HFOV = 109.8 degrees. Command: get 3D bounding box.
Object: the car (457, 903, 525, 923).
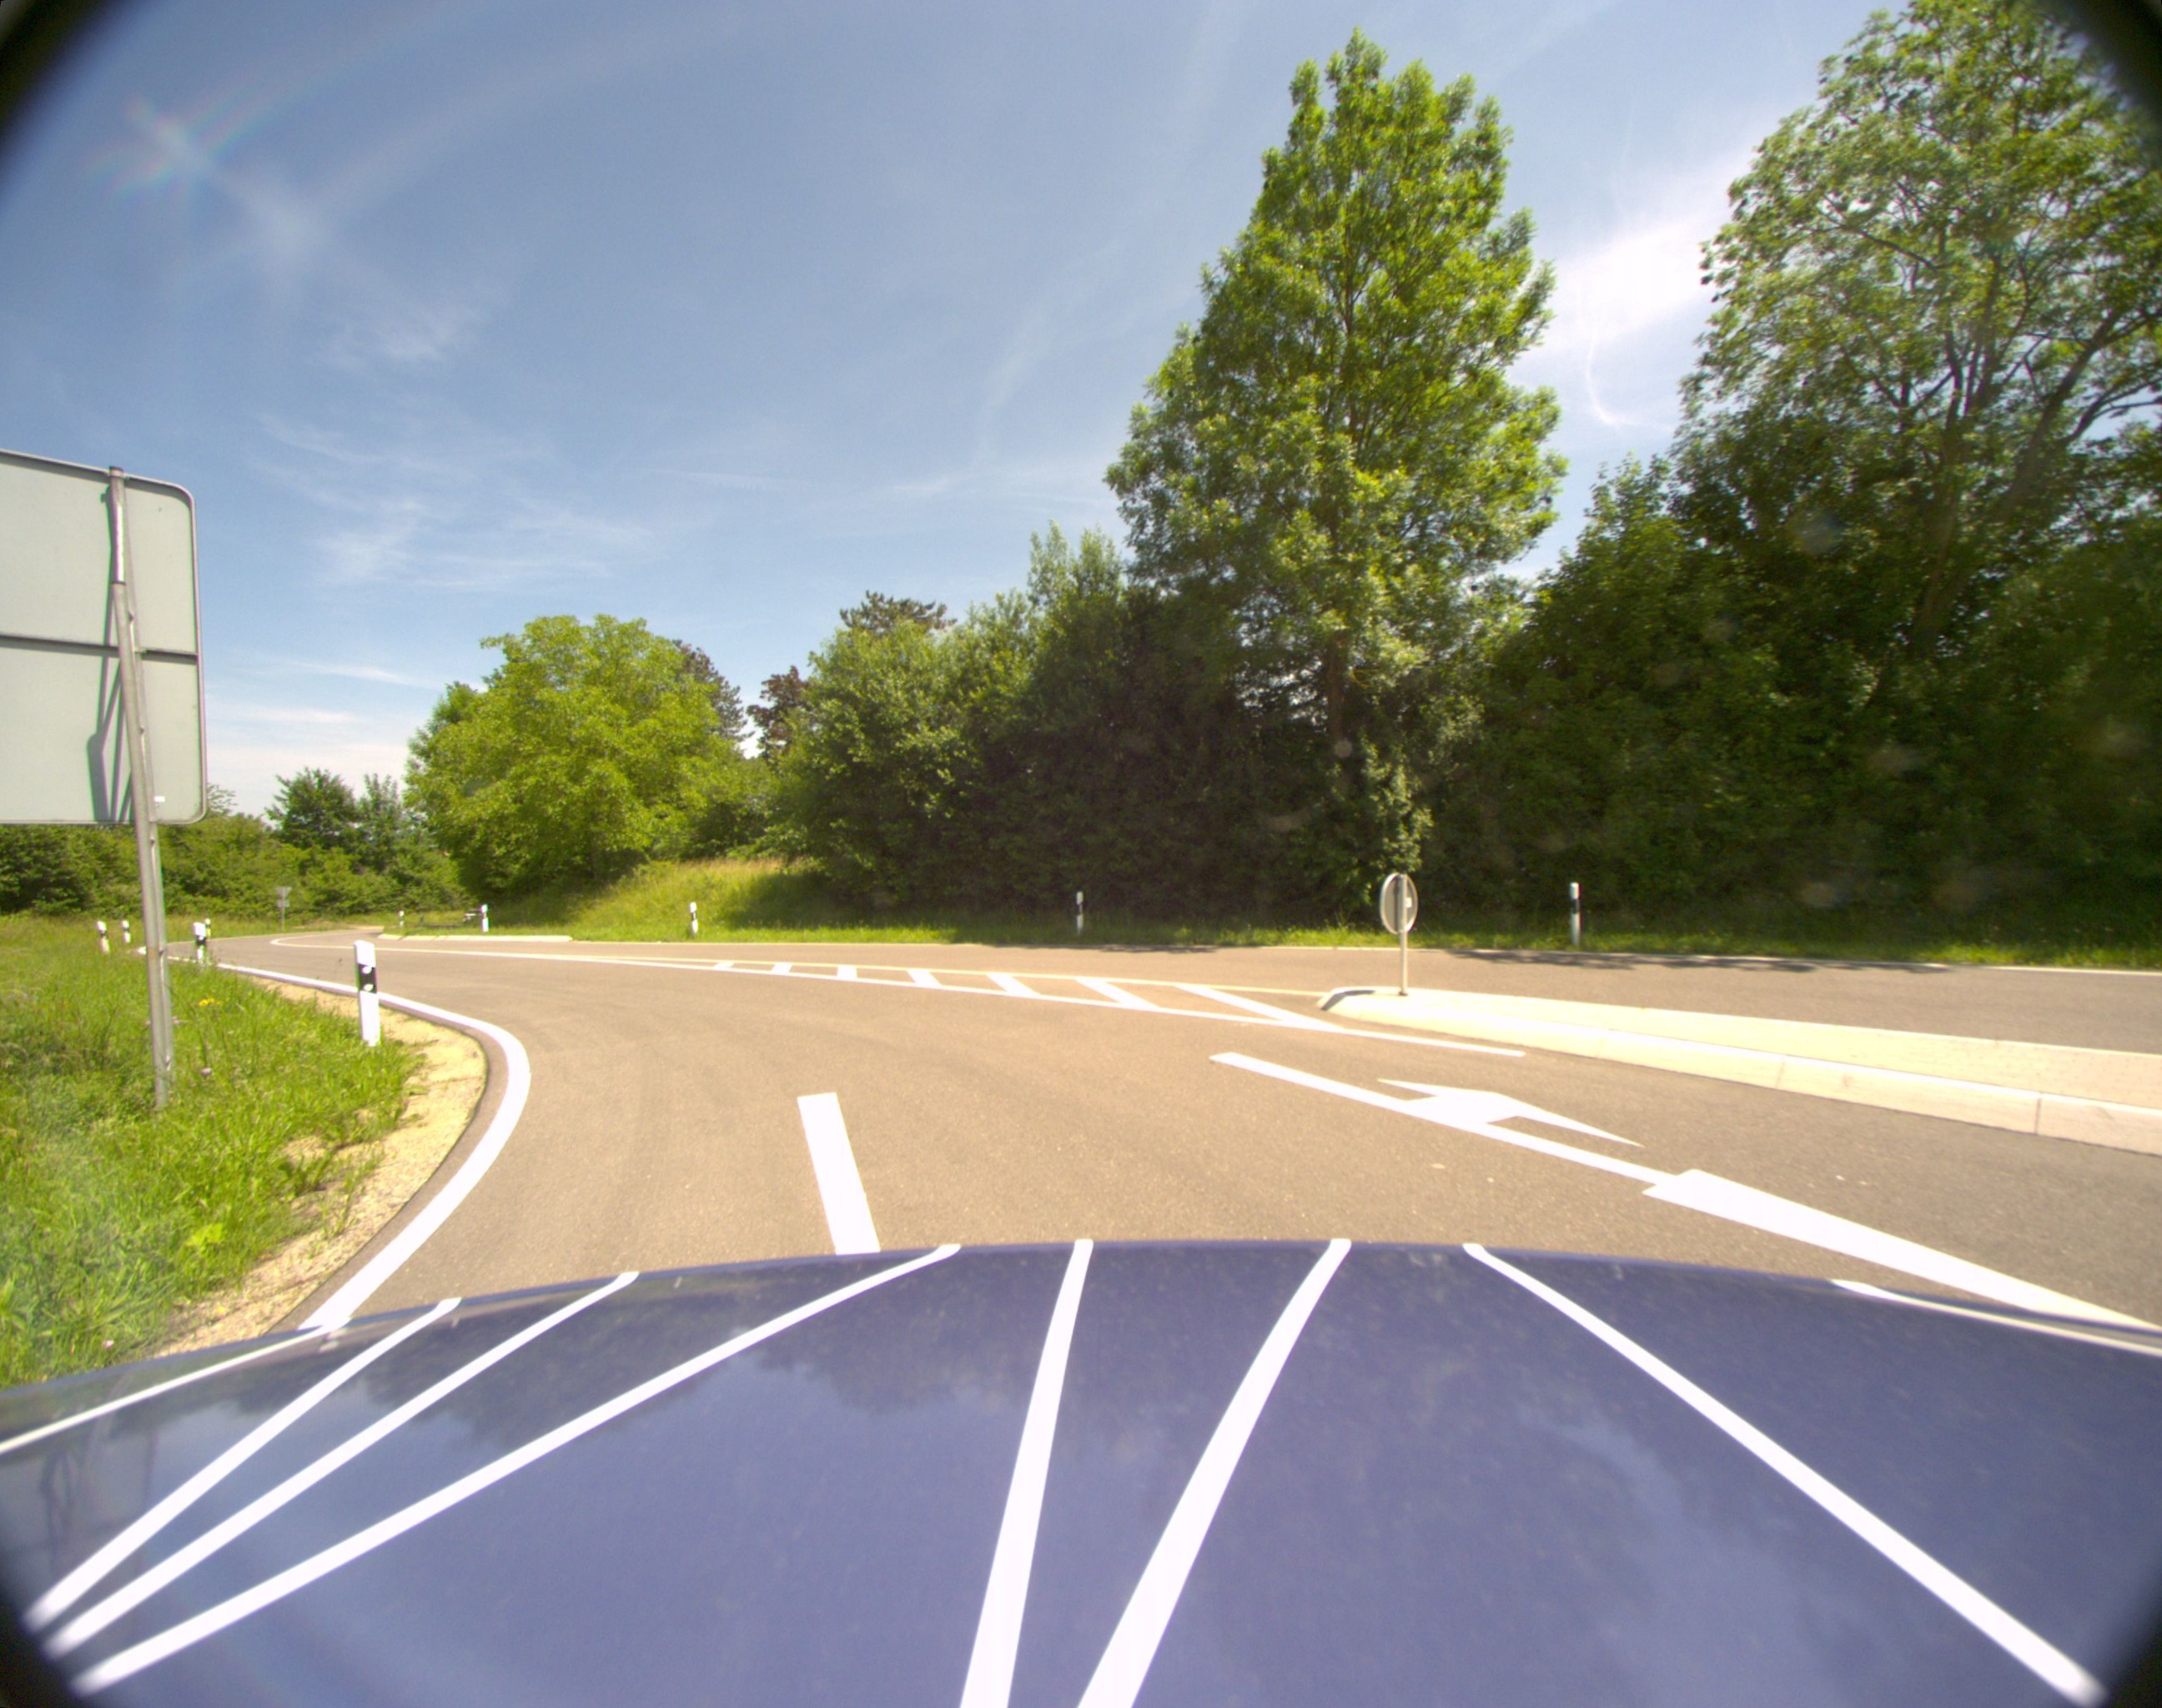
[{"bbox_3d":[-45.857,4.580,59.186,1.810,1.403,5.333,-2,-3,-9],"label":"car"}]
